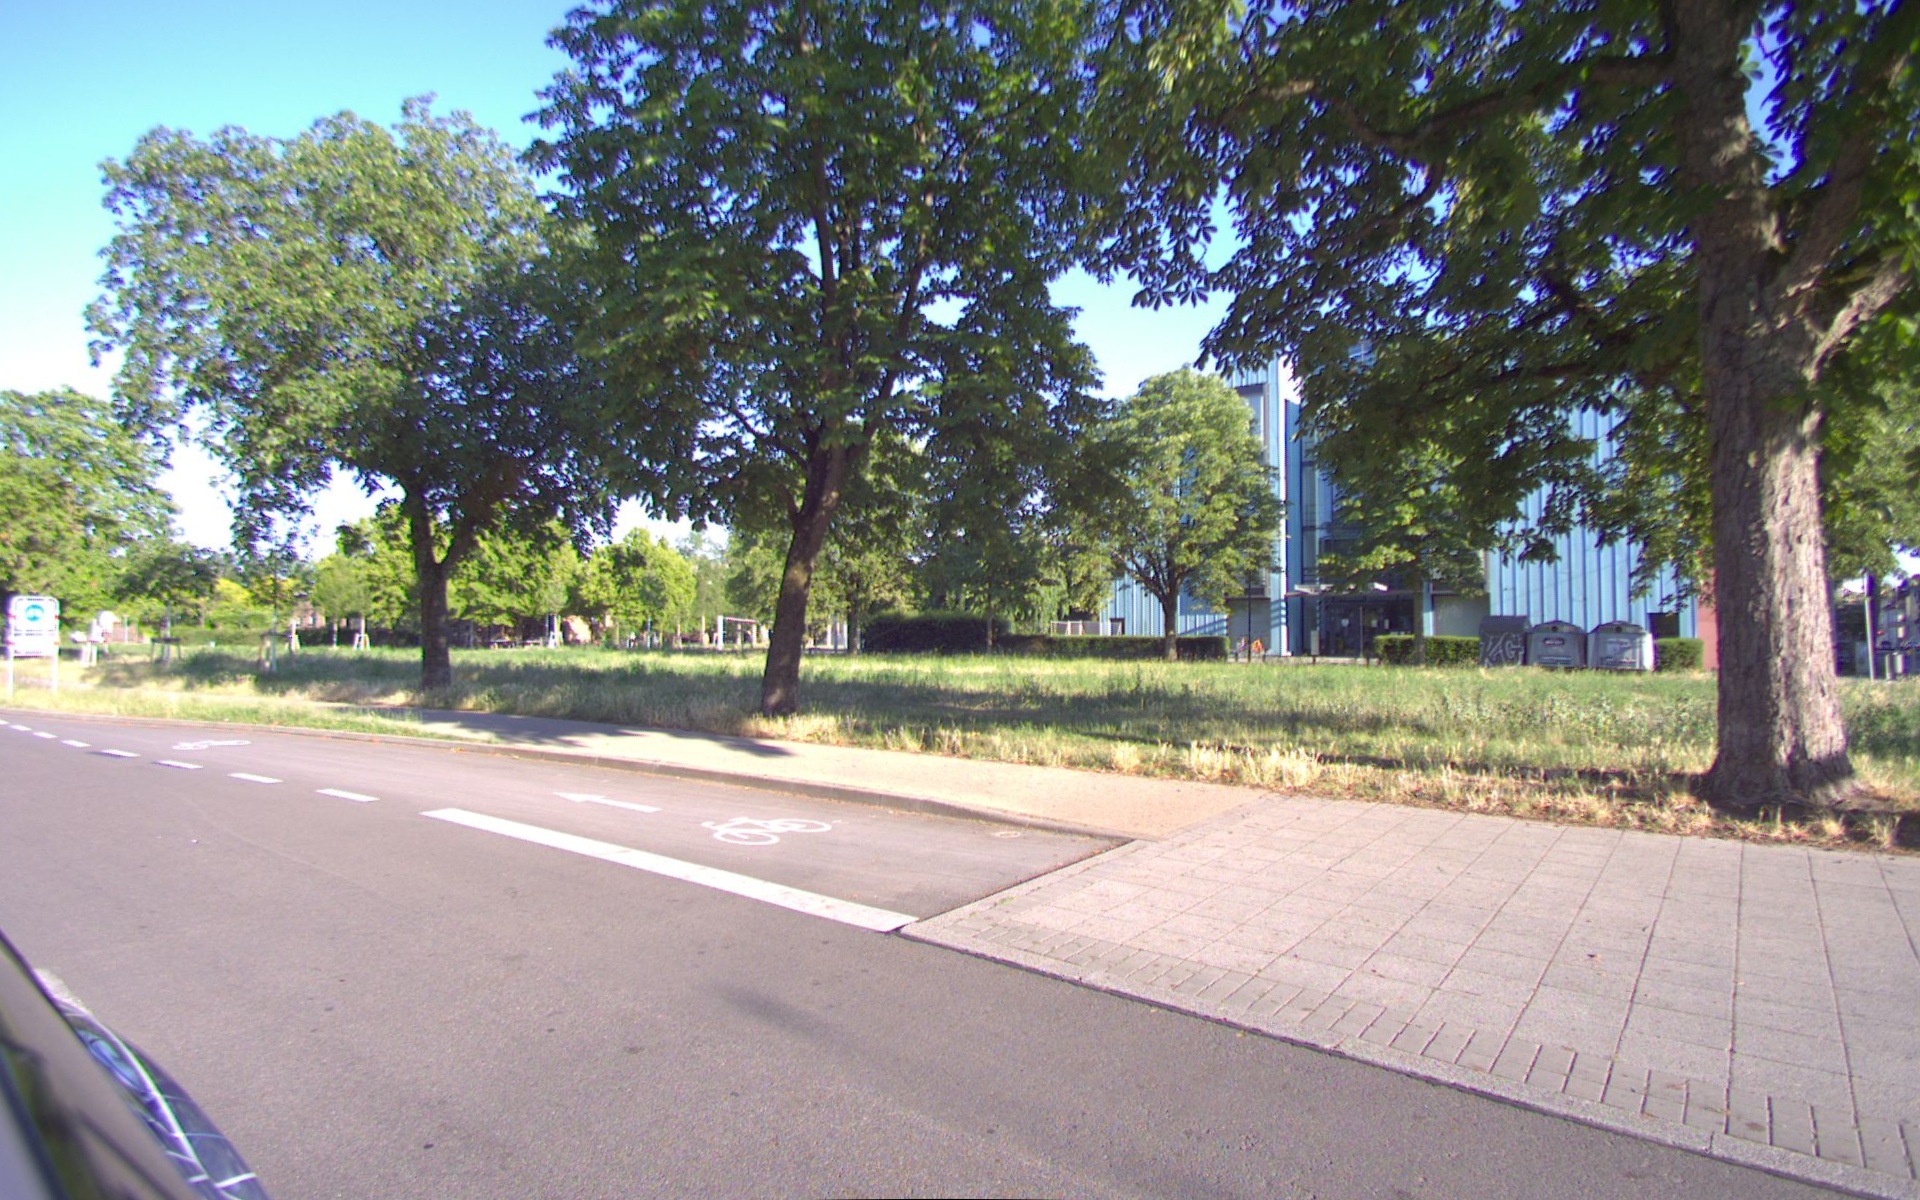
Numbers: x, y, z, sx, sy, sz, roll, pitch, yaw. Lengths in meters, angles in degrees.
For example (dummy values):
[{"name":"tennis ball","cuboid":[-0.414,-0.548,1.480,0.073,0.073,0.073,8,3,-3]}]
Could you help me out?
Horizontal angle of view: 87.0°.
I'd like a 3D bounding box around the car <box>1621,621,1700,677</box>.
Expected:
[{"name":"car","cuboid":[23.465,1.691,33.823,1.996,1.684,5.158,-1,-4,37]}]
